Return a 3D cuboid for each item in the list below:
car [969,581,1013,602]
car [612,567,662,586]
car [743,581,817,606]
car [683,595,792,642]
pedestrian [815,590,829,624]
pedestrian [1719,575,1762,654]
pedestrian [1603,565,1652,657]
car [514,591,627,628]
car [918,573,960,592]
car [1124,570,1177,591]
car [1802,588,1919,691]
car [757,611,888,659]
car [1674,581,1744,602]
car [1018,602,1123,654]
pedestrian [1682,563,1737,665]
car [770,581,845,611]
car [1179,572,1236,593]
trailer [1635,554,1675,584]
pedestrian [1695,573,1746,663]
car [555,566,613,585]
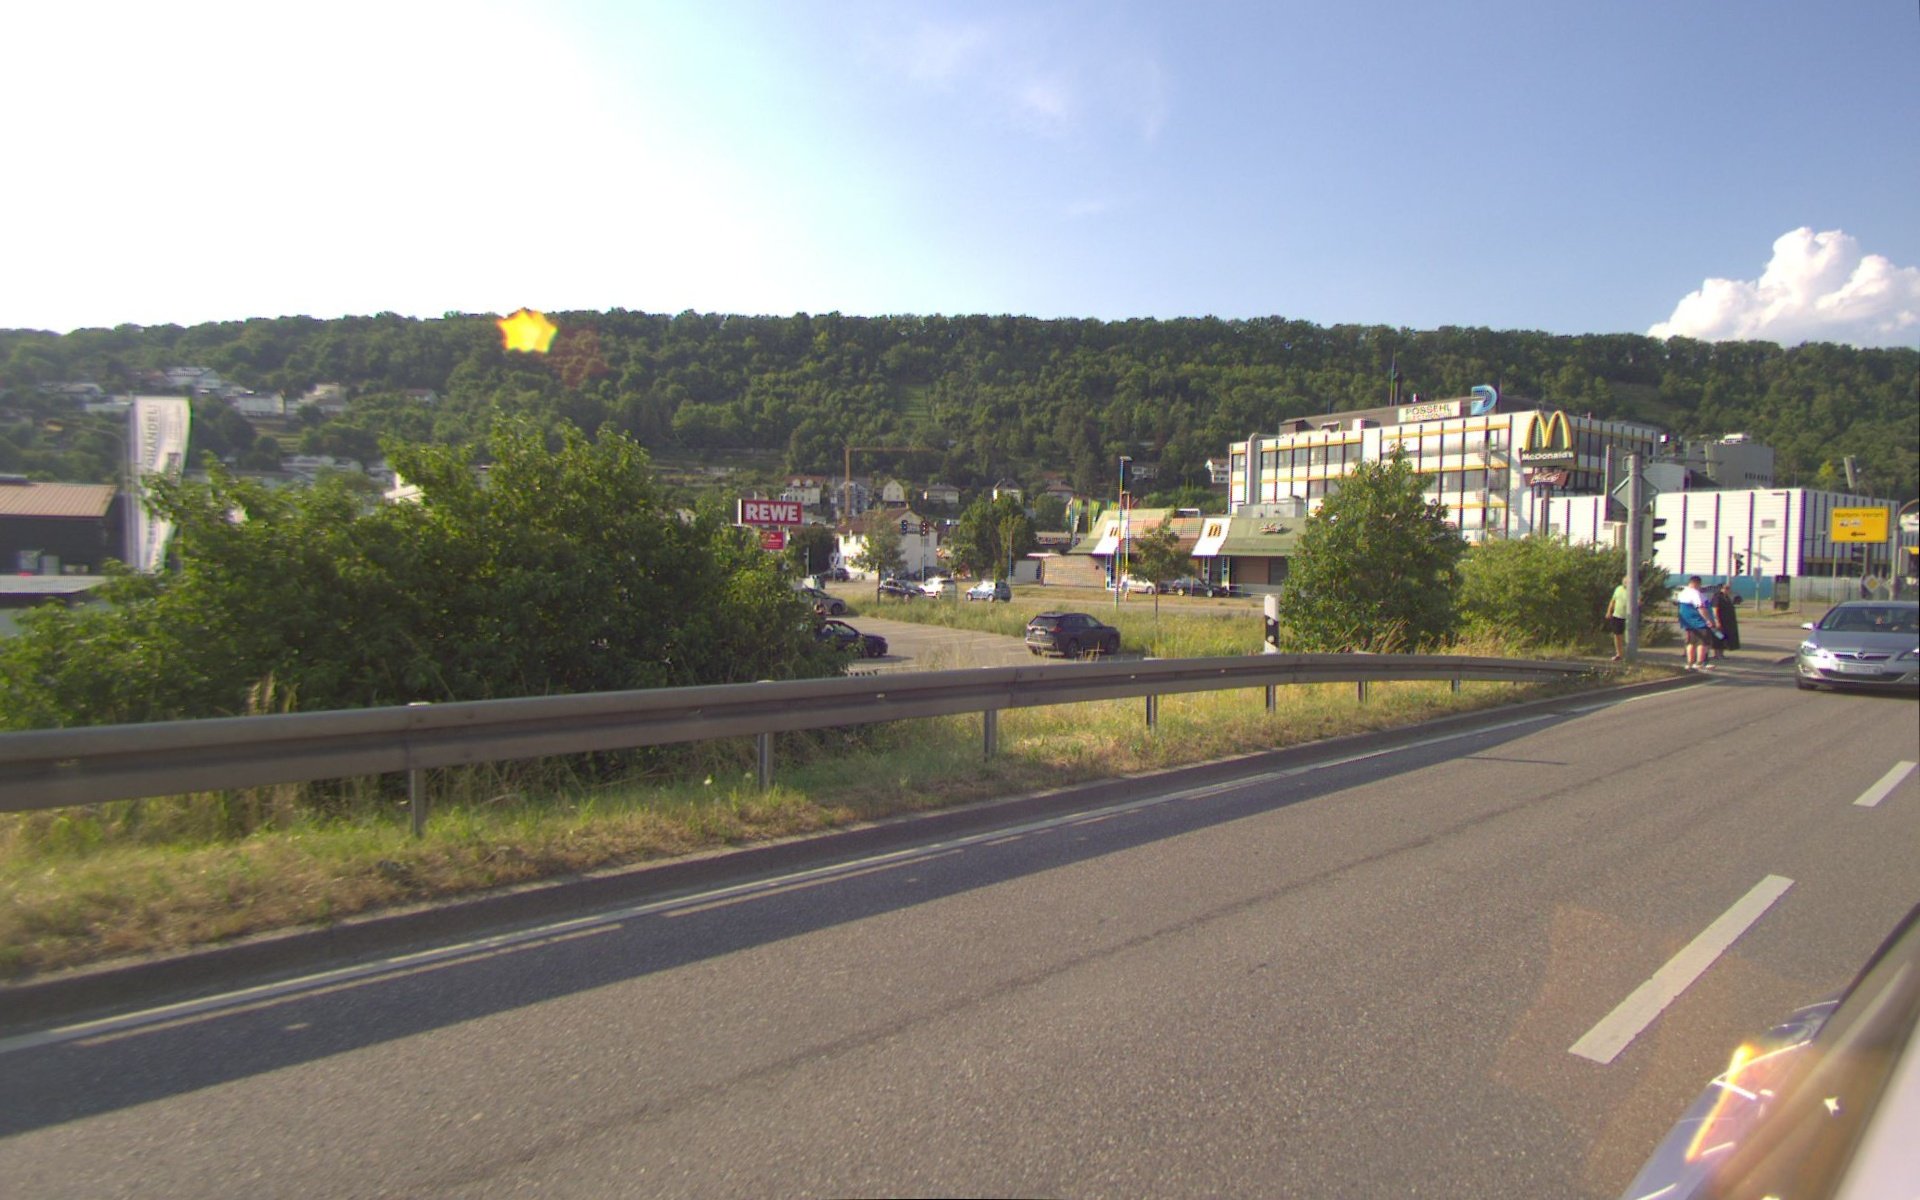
[{"bbox_3d":[2.293,-0.667,75.572,1.548,1.504,3.323,-1,1,-37],"label":"car"},{"bbox_3d":[-29.319,-2.157,91.906,3.931,1.676,1.789,-2,1,-41],"label":"car"},{"bbox_3d":[-11.784,-0.472,66.362,4.353,1.544,2.001,-1,1,-33],"label":"car"},{"bbox_3d":[-9.188,0.720,41.998,4.059,1.723,1.835,-2,4,-41],"label":"car"},{"bbox_3d":[-6.084,0.303,44.487,0.556,1.477,0.381,-1,1,-14],"label":"pedestrian"},{"bbox_3d":[16.739,0.294,21.705,0.612,1.634,0.572,-1,4,-45],"label":"pedestrian"},{"bbox_3d":[13.379,0.205,20.292,0.527,1.770,0.533,-1,5,-35],"label":"pedestrian"},{"bbox_3d":[-17.626,0.387,45.902,4.452,1.526,1.908,-2,1,-37],"label":"car"},{"bbox_3d":[-1.720,-1.423,81.079,1.657,1.438,3.654,-1,1,-34],"label":"car"},{"bbox_3d":[15.281,-1.579,81.255,1.827,1.475,3.998,-2,4,-38],"label":"car"},{"bbox_3d":[15.113,0.557,16.297,3.815,1.408,1.690,-2,3,-39],"label":"car"},{"bbox_3d":[-4.872,1.203,36.123,4.266,1.390,1.999,-2,3,-39],"label":"car"},{"bbox_3d":[55.432,-0.627,74.906,3.829,1.523,1.879,-1,1,-4],"label":"car"},{"bbox_3d":[4.310,1.022,39.133,4.062,1.723,1.834,-2,4,-44],"label":"car"},{"bbox_3d":[14.381,0.243,19.421,0.846,1.906,0.620,-1,3,-41],"label":"pedestrian"},{"bbox_3d":[-9.318,-0.265,61.925,4.080,1.727,2.000,-2,1,-36],"label":"car"},{"bbox_3d":[18.767,-1.350,76.853,1.827,1.475,3.999,-2,4,-38],"label":"car"},{"bbox_3d":[48.563,-2.183,70.765,1.331,1.971,3.460,3,2,18],"label":"trailer"},{"bbox_3d":[14.985,0.333,19.941,0.622,1.703,0.596,-1,5,-41],"label":"pedestrian"},{"bbox_3d":[-32.356,-2.145,87.143,4.266,1.582,1.835,-2,4,-41],"label":"car"}]
